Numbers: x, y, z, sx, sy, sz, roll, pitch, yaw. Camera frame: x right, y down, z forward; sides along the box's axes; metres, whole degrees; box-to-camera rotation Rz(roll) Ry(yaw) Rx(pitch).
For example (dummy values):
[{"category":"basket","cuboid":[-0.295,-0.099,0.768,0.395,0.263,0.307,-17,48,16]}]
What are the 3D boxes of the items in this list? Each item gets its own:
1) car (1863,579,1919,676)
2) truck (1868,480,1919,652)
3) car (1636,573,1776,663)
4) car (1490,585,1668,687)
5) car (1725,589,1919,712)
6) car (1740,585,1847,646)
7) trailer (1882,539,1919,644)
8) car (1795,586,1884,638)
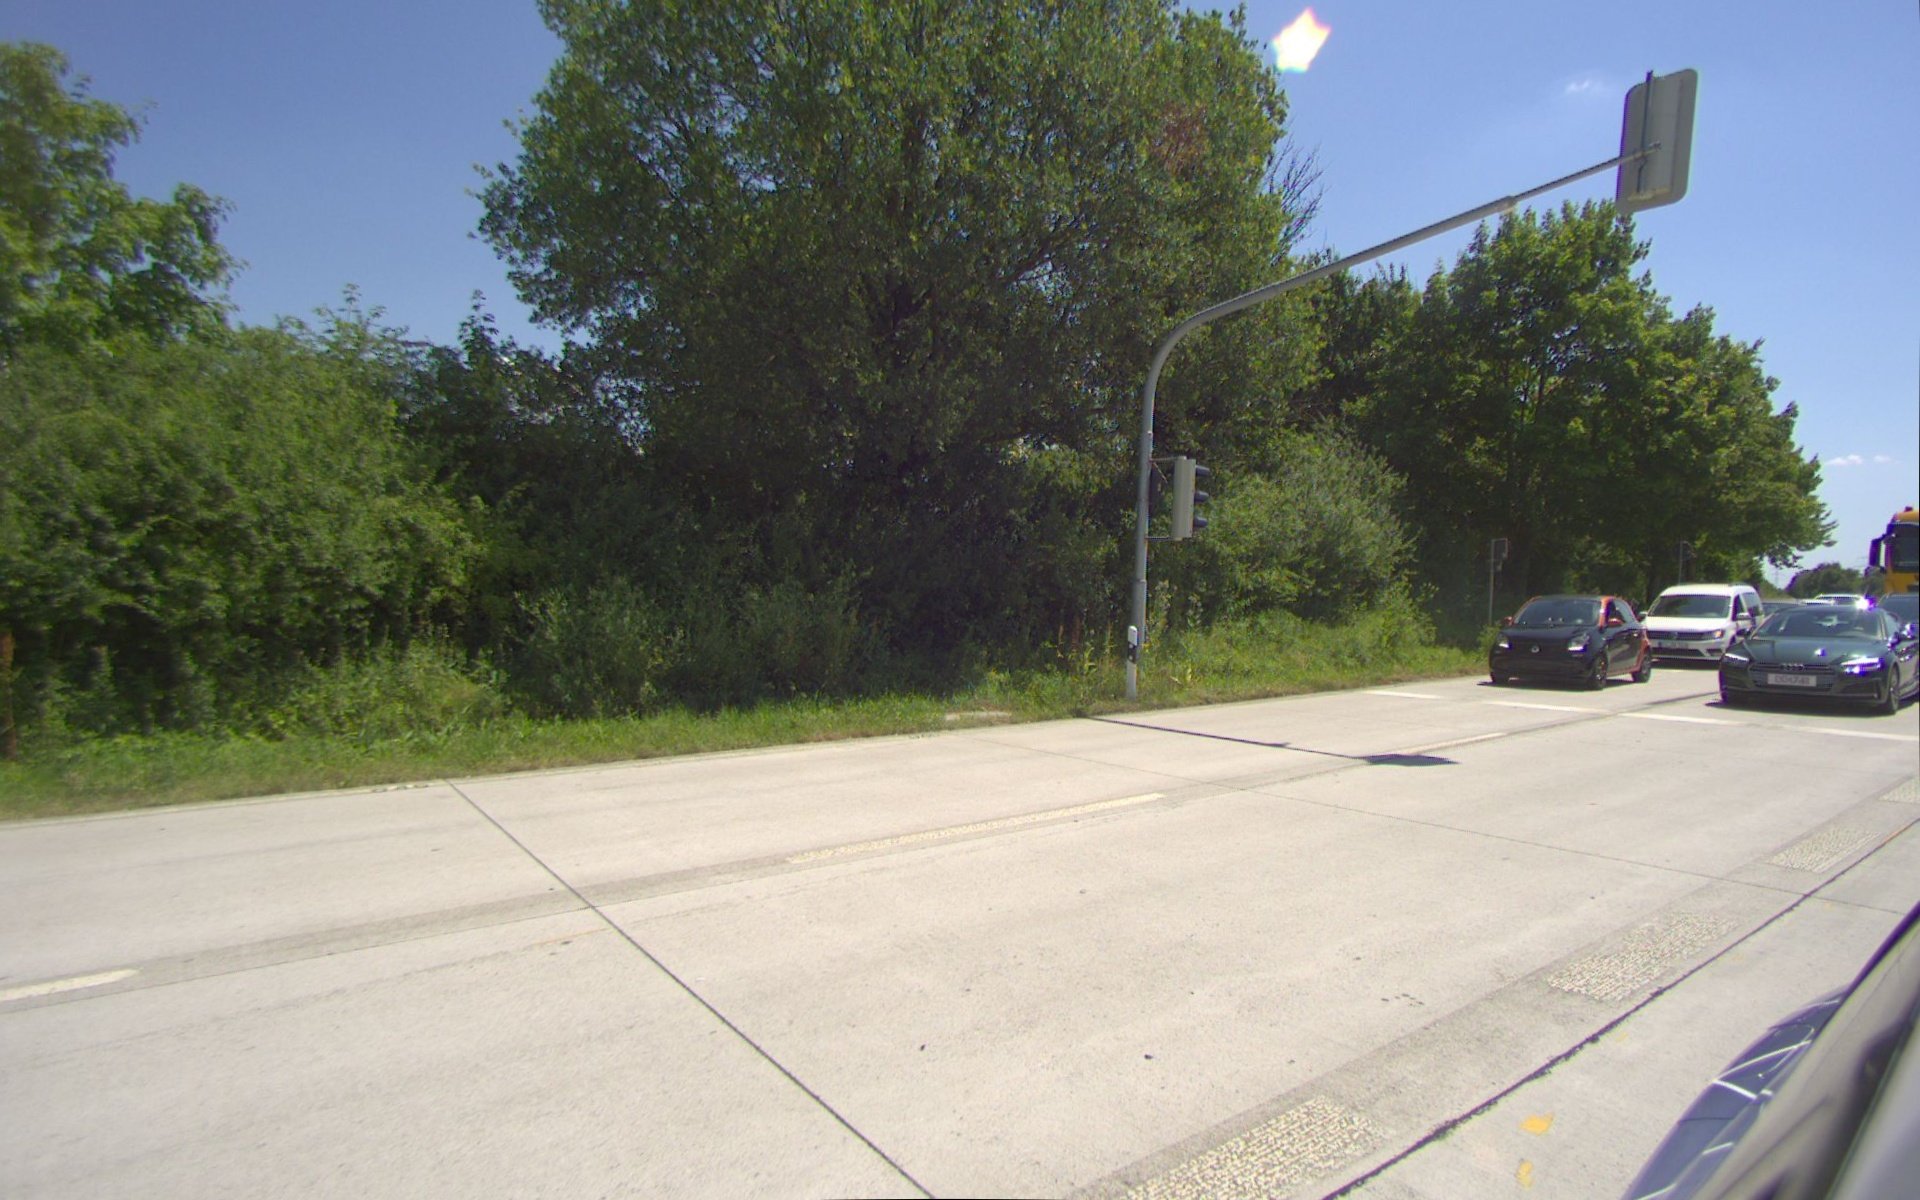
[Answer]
[{"category":"car","cuboid":[18.255,0.443,18.732,4.567,1.660,1.786,-1,2,-42]},{"category":"truck","cuboid":[24.513,-0.802,24.655,7.346,3.819,3.016,-1,1,-44]},{"category":"car","cuboid":[16.836,0.307,22.749,4.713,1.830,1.769,-1,2,-44]},{"category":"car","cuboid":[10.790,0.528,17.550,3.590,1.528,1.769,-1,2,-43]},{"category":"car","cuboid":[12.594,0.593,14.437,4.529,1.428,1.771,-1,2,-41]},{"category":"car","cuboid":[22.810,0.358,27.651,4.292,1.480,1.769,-1,2,-44]},{"category":"trailer","cuboid":[30.450,-0.257,30.377,16.085,2.626,3.030,-1,1,-44]},{"category":"car","cuboid":[27.741,0.324,31.886,4.523,1.480,1.769,-1,2,-45]}]
